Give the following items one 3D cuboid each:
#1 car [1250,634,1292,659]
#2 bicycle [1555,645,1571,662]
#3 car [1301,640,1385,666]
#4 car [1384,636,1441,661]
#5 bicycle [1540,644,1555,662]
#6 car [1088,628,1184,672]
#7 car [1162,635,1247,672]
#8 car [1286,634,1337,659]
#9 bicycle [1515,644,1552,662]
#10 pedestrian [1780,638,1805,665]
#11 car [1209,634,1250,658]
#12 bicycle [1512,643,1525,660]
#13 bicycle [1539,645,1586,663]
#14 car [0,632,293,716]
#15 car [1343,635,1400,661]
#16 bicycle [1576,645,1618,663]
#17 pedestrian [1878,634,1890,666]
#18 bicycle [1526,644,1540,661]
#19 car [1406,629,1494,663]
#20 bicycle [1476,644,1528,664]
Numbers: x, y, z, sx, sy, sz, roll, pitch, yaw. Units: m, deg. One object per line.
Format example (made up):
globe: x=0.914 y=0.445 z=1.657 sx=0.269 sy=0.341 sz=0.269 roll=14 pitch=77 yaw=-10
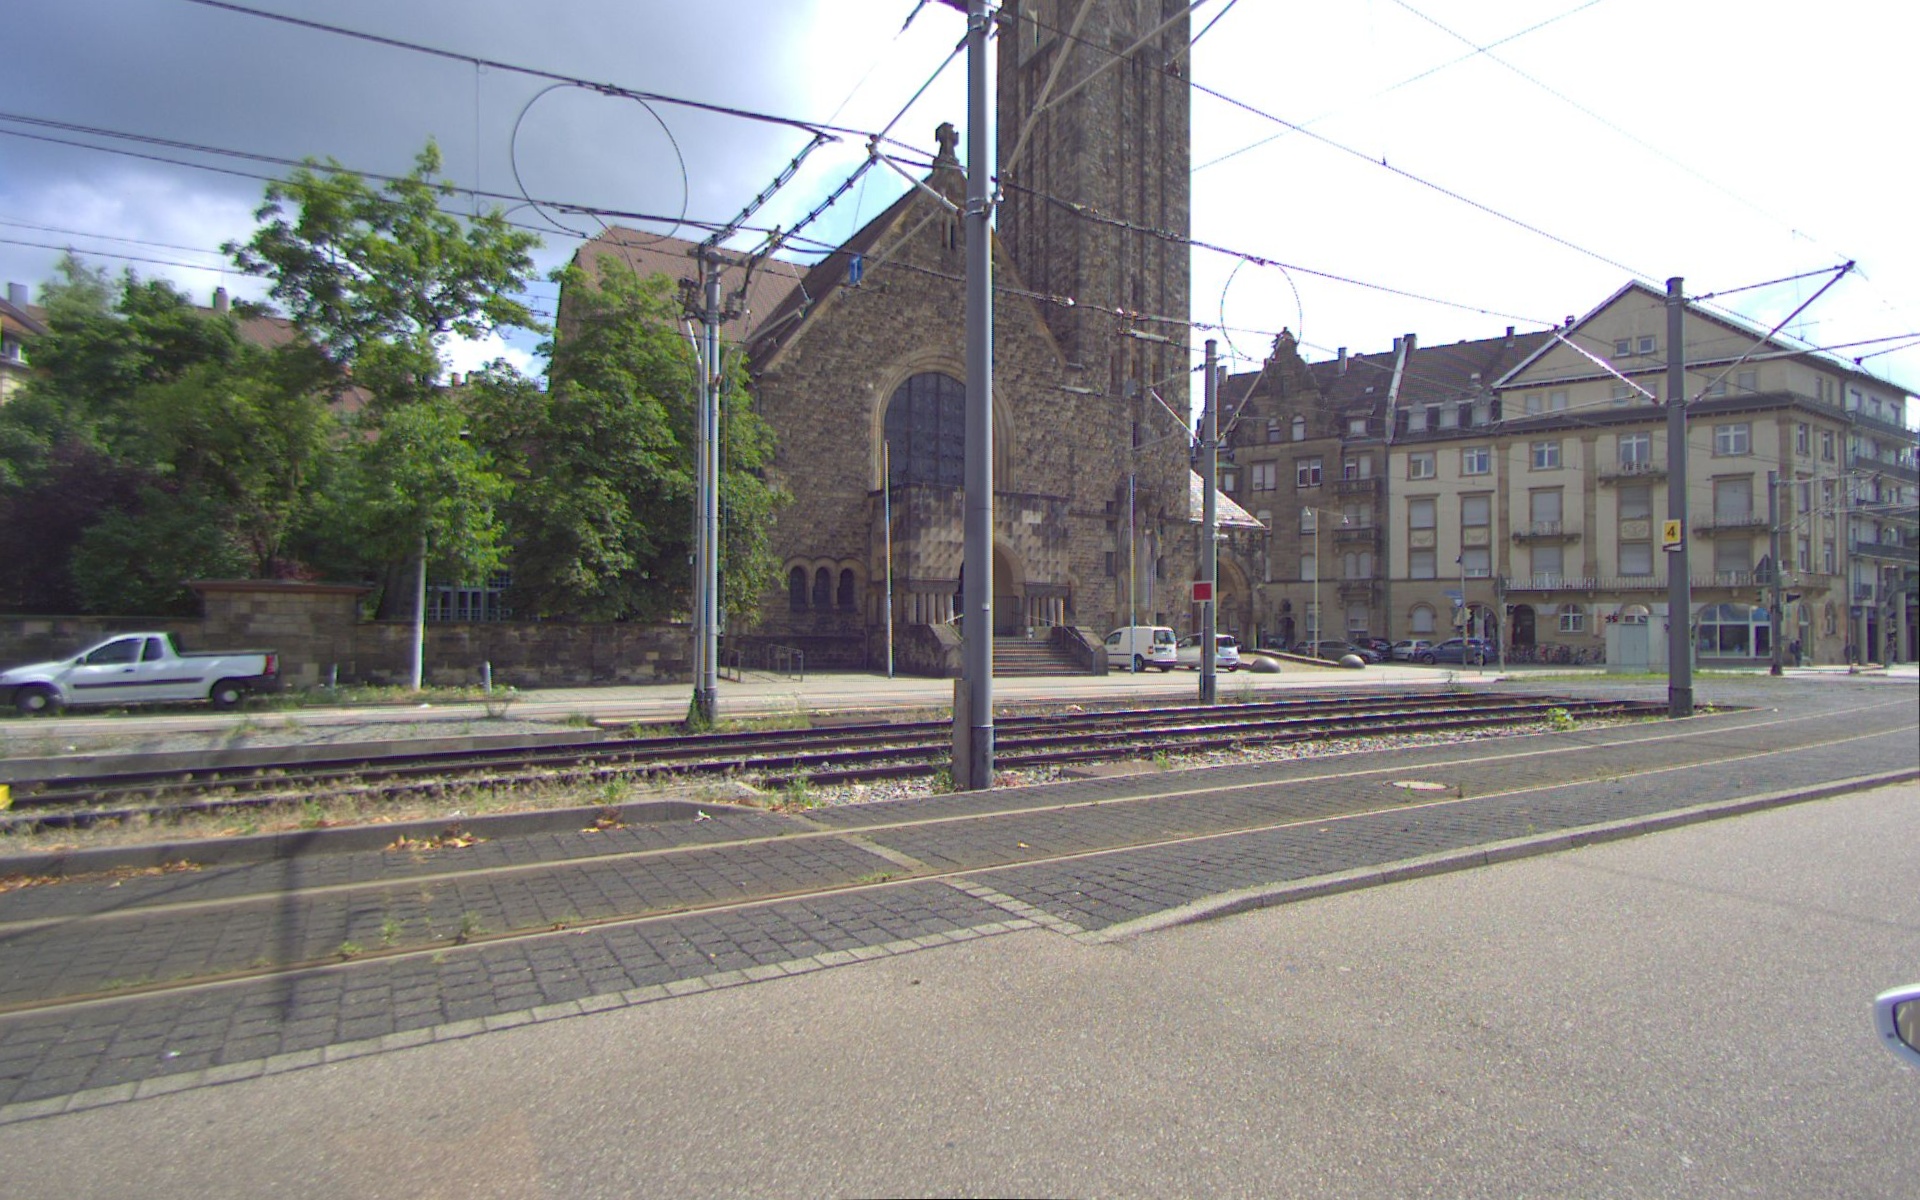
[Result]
car: x=22.618 y=3.370 z=73.180 sx=1.850 sy=1.782 sz=4.001 roll=0 pitch=-2 yaw=-1
bicycle: x=38.311 y=3.374 z=63.801 sx=0.791 sy=1.067 sz=2.562 roll=-1 pitch=-2 yaw=30
car: x=23.105 y=3.188 z=60.657 sx=4.496 sy=1.455 sz=1.701 roll=-1 pitch=-2 yaw=36
car: x=30.609 y=3.256 z=68.045 sx=1.769 sy=1.661 sz=3.997 roll=0 pitch=-2 yaw=-6
bicycle: x=37.587 y=3.368 z=64.239 sx=0.791 sy=1.067 sz=2.562 roll=-1 pitch=-2 yaw=30
car: x=7.380 y=2.068 z=42.369 sx=1.875 sy=1.771 sz=3.847 roll=1 pitch=-2 yaw=-33
car: x=10.524 y=2.274 z=43.408 sx=1.834 sy=1.522 sz=3.247 roll=1 pitch=-2 yaw=-32
car: x=25.019 y=3.286 z=71.613 sx=1.962 sy=1.758 sz=3.997 roll=0 pitch=-2 yaw=-6
bicycle: x=35.684 y=3.297 z=62.485 sx=1.938 sy=1.129 sz=0.487 roll=-1 pitch=-2 yaw=23
pedestrian: x=49.422 y=3.067 z=59.630 sx=0.845 sy=1.617 sz=0.694 roll=0 pitch=-2 yaw=-2
car: x=20.089 y=3.407 z=74.998 sx=1.961 sy=1.760 sz=4.001 roll=0 pitch=-2 yaw=-1
bicycle: x=36.421 y=3.368 z=65.485 sx=0.729 sy=1.067 sz=2.361 roll=-1 pitch=-2 yaw=30
bicycle: x=37.383 y=3.329 z=62.345 sx=2.522 sy=1.067 sz=0.681 roll=-1 pitch=-2 yaw=32
car: x=-16.040 y=1.407 z=20.138 sx=4.367 sy=1.524 sz=1.920 roll=1 pitch=-2 yaw=-33
car: x=28.299 y=3.277 z=69.200 sx=1.962 sy=1.695 sz=3.997 roll=0 pitch=-2 yaw=-6
bicycle: x=39.801 y=3.375 z=62.742 sx=2.526 sy=1.067 sz=0.802 roll=1 pitch=-2 yaw=-19
pedestrian: x=60.856 y=3.287 z=66.171 sx=0.416 sy=2.040 sz=0.474 roll=1 pitch=-2 yaw=-36
bicycle: x=36.916 y=3.363 z=64.698 sx=0.729 sy=1.067 sz=2.562 roll=-1 pitch=-2 yaw=30
car: x=30.555 y=2.835 z=62.655 sx=4.725 sy=2.040 sz=1.994 roll=-1 pitch=-2 yaw=34
bicycle: x=34.926 y=3.458 z=64.833 sx=0.982 sy=1.270 sz=3.312 roll=1 pitch=-2 yaw=-14
